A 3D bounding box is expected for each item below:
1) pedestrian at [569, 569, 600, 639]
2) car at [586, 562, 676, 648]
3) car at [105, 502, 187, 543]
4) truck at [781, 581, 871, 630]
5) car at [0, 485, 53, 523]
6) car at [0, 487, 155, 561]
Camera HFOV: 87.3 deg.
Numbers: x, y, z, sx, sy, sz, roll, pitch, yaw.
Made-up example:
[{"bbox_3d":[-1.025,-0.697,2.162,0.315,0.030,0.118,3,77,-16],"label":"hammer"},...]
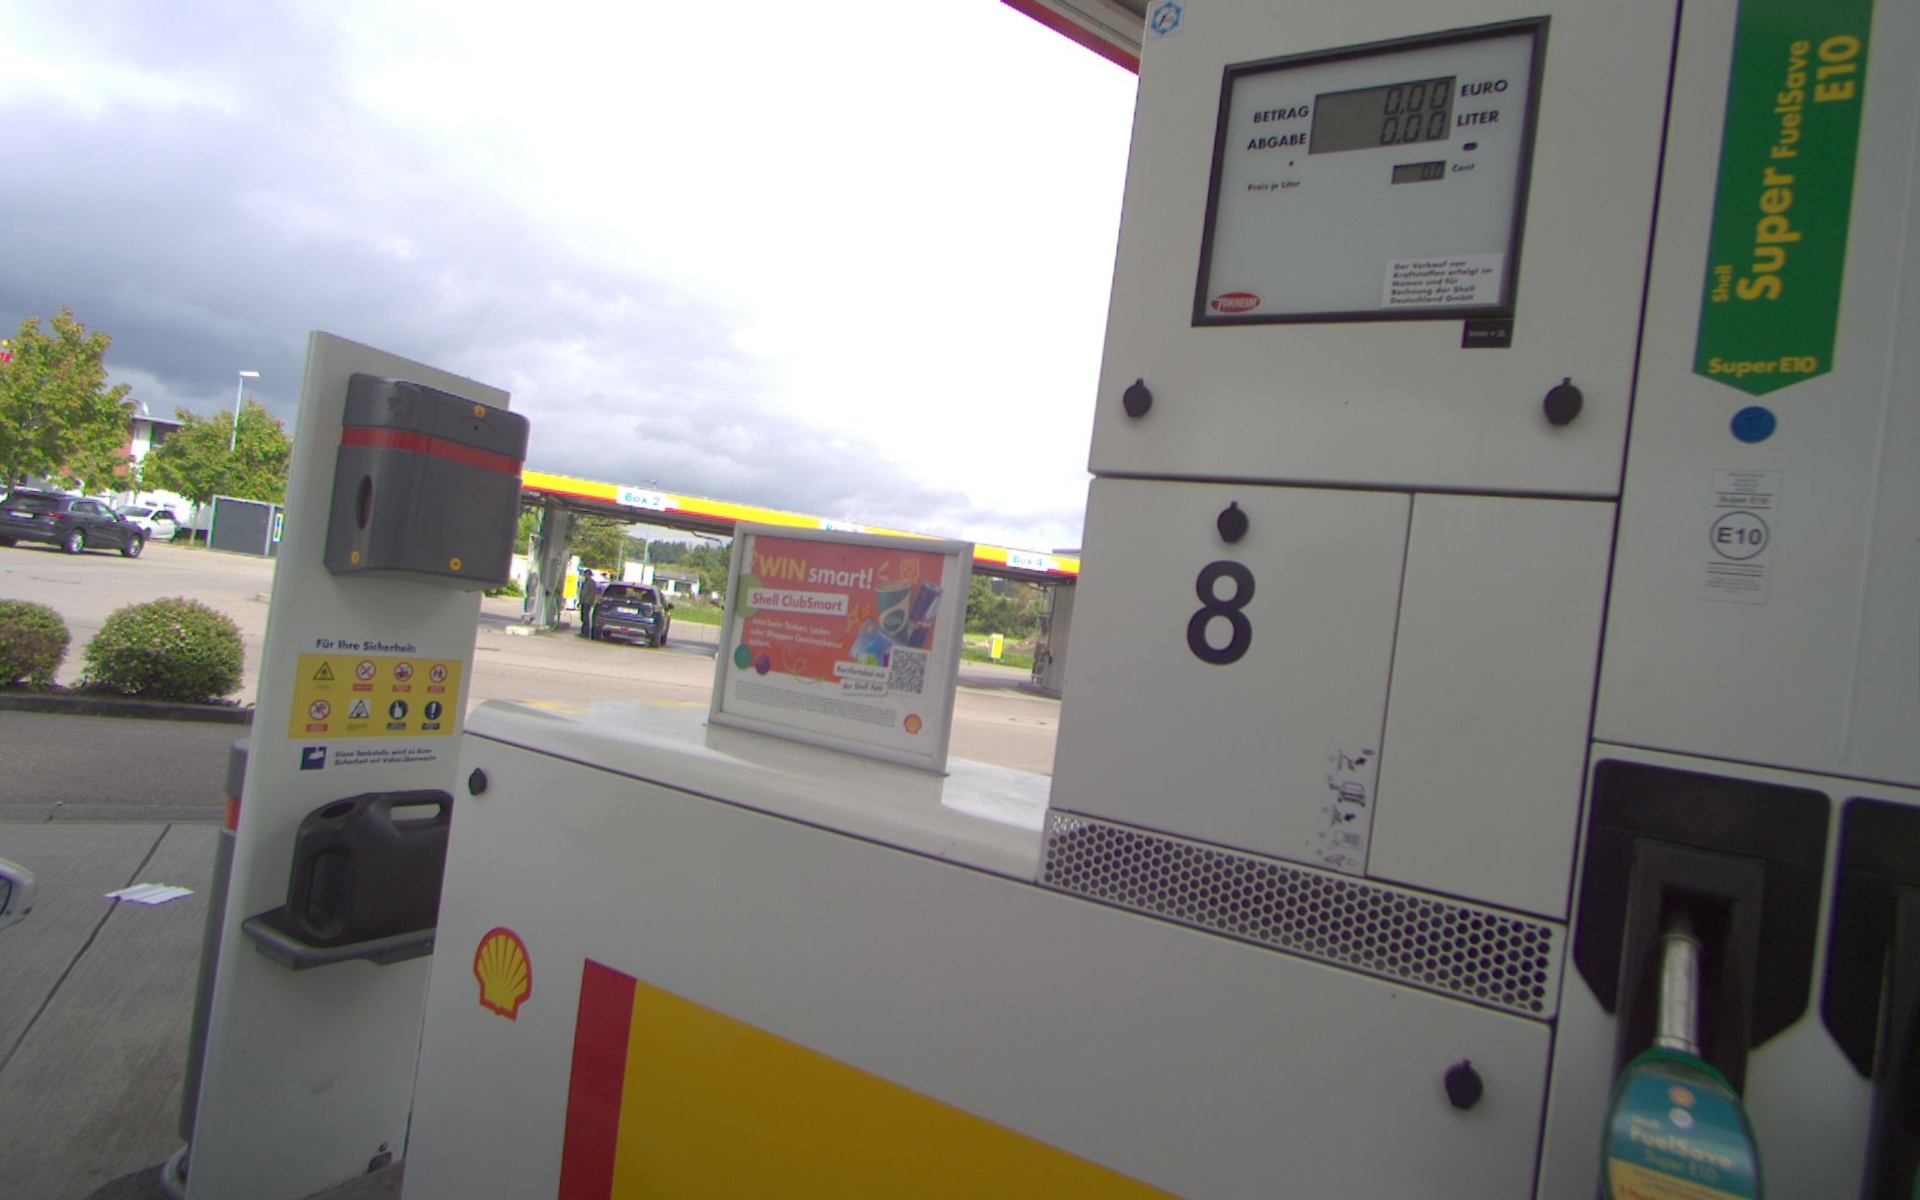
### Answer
[{"bbox_3d":[-9.725,0.094,26.054,0.550,1.742,0.526,7,-1,-21],"label":"pedestrian"},{"bbox_3d":[-8.697,0.151,26.873,1.696,1.919,3.800,8,-2,-12],"label":"car"},{"bbox_3d":[-35.259,-3.342,43.656,1.346,1.322,3.098,8,-2,-12],"label":"car"},{"bbox_3d":[-13.018,0.566,97.517,7.978,3.575,2.687,8,-2,-19],"label":"truck"},{"bbox_3d":[-57.360,-5.908,60.251,2.149,1.854,4.870,8,-2,-11],"label":"car"},{"bbox_3d":[-25.929,-2.170,29.271,1.855,1.566,4.498,8,-2,-10],"label":"car"}]
